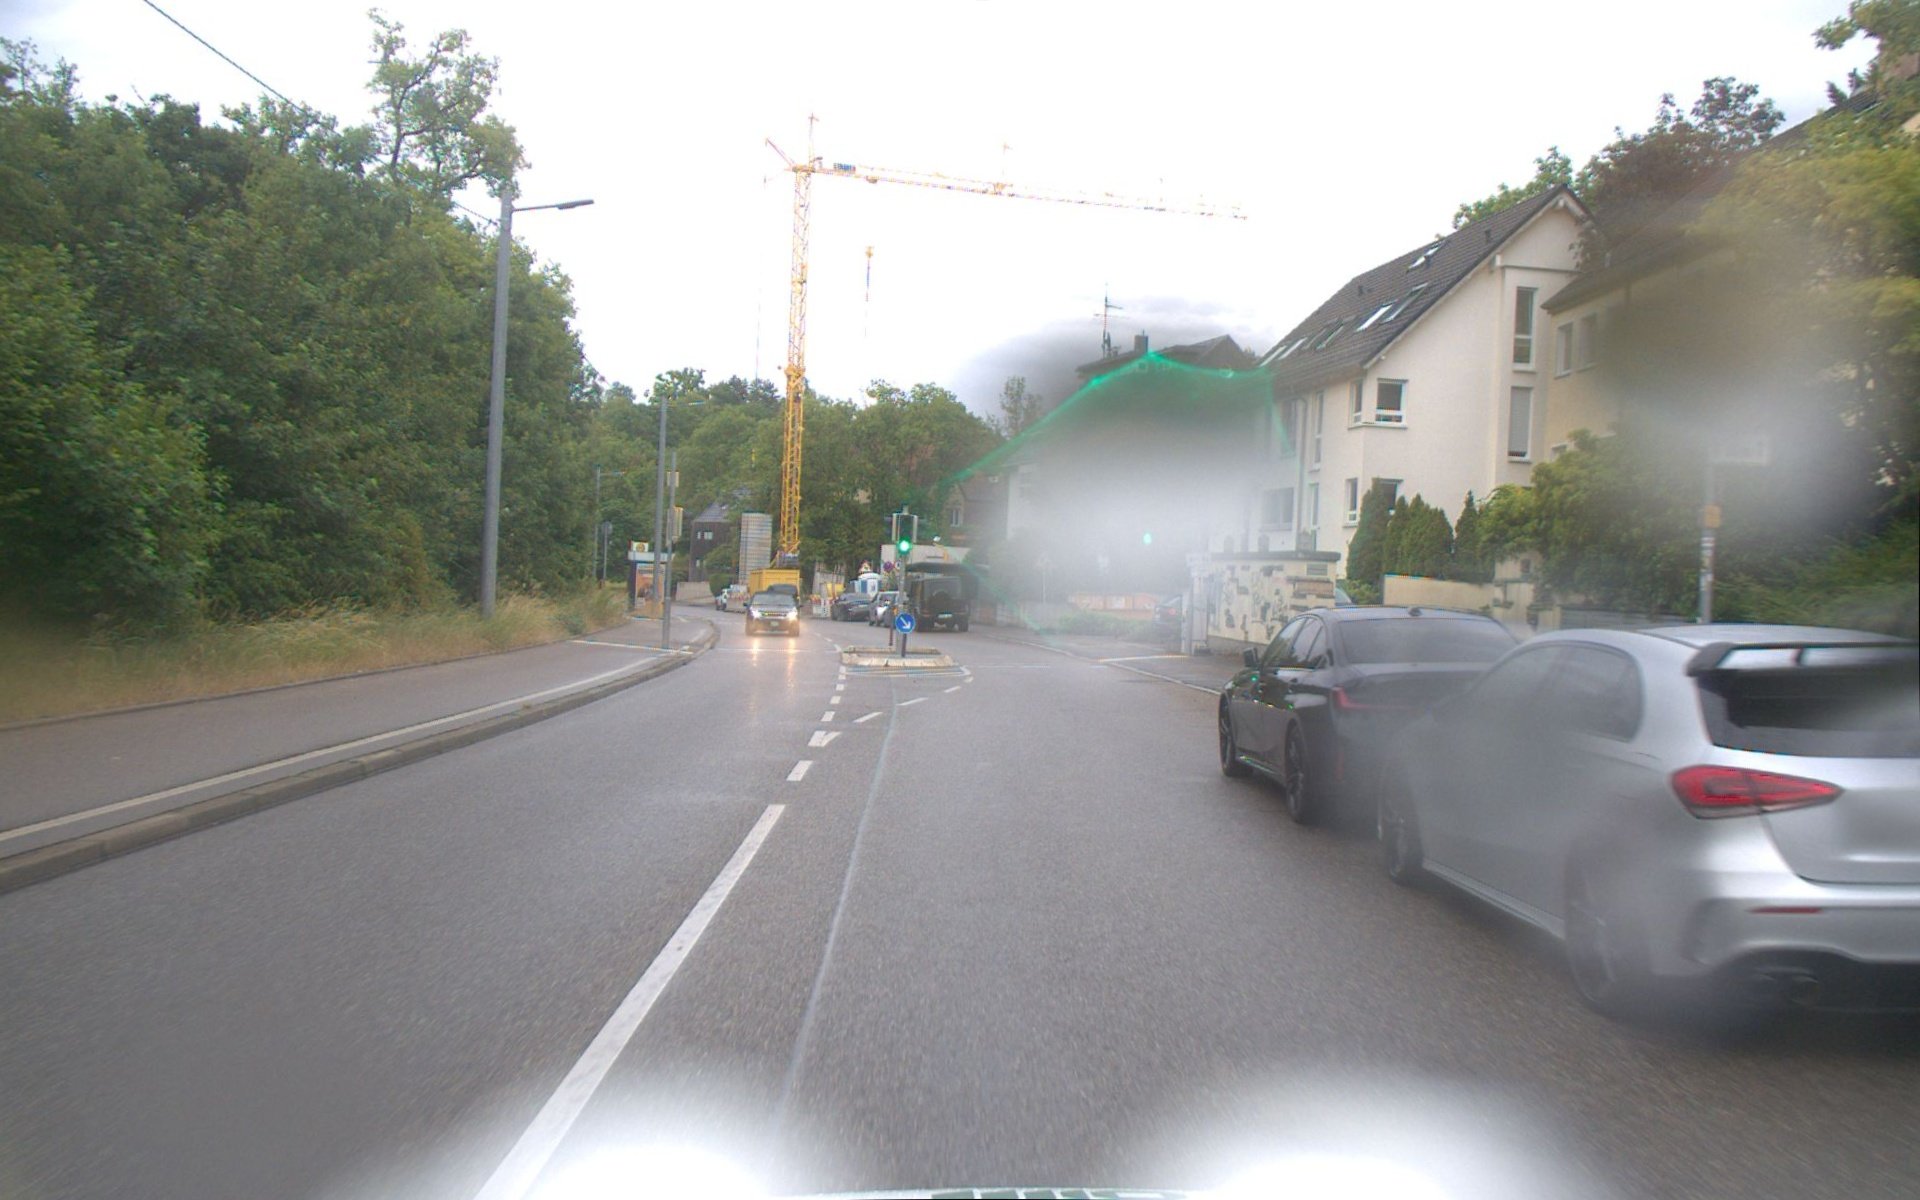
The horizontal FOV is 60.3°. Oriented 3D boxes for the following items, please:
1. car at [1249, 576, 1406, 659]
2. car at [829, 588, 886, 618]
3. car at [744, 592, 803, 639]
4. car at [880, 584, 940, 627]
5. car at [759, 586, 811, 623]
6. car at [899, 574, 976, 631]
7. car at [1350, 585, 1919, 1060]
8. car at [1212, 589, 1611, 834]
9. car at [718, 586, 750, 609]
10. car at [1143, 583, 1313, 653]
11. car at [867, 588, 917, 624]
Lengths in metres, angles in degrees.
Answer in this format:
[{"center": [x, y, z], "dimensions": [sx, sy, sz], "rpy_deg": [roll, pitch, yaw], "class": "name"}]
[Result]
[{"center": [8.180, 0.378, 37.228], "dimensions": [1.897, 1.623, 4.332], "rpy_deg": [4, -1, -10], "class": "car"}, {"center": [-5.343, 0.131, 85.538], "dimensions": [1.900, 1.447, 4.816], "rpy_deg": [2, 0, -16], "class": "car"}, {"center": [-6.180, 0.498, 55.111], "dimensions": [1.709, 1.485, 4.410], "rpy_deg": [1, 0, -4], "class": "car"}, {"center": [-2.063, 0.213, 67.300], "dimensions": [1.896, 1.624, 4.385], "rpy_deg": [-1, 0, -9], "class": "car"}, {"center": [-9.135, 0.215, 86.015], "dimensions": [1.901, 1.782, 3.981], "rpy_deg": [1, 1, -17], "class": "car"}, {"center": [-0.898, 0.069, 62.375], "dimensions": [1.959, 2.049, 4.941], "rpy_deg": [-1, 0, -12], "class": "car"}, {"center": [3.241, 0.754, 7.586], "dimensions": [1.756, 1.513, 4.494], "rpy_deg": [1, -1, -1], "class": "car"}, {"center": [3.134, 0.705, 12.487], "dimensions": [1.716, 1.468, 4.600], "rpy_deg": [1, 0, 0], "class": "car"}, {"center": [-17.342, -0.212, 126.538], "dimensions": [1.717, 1.735, 4.480], "rpy_deg": [-1, 1, -17], "class": "car"}, {"center": [7.516, 0.503, 46.591], "dimensions": [4.248, 1.623, 1.988], "rpy_deg": [4, -1, -9], "class": "car"}, {"center": [-2.980, 0.251, 71.622], "dimensions": [1.643, 1.483, 3.376], "rpy_deg": [0, 0, -12], "class": "car"}]
